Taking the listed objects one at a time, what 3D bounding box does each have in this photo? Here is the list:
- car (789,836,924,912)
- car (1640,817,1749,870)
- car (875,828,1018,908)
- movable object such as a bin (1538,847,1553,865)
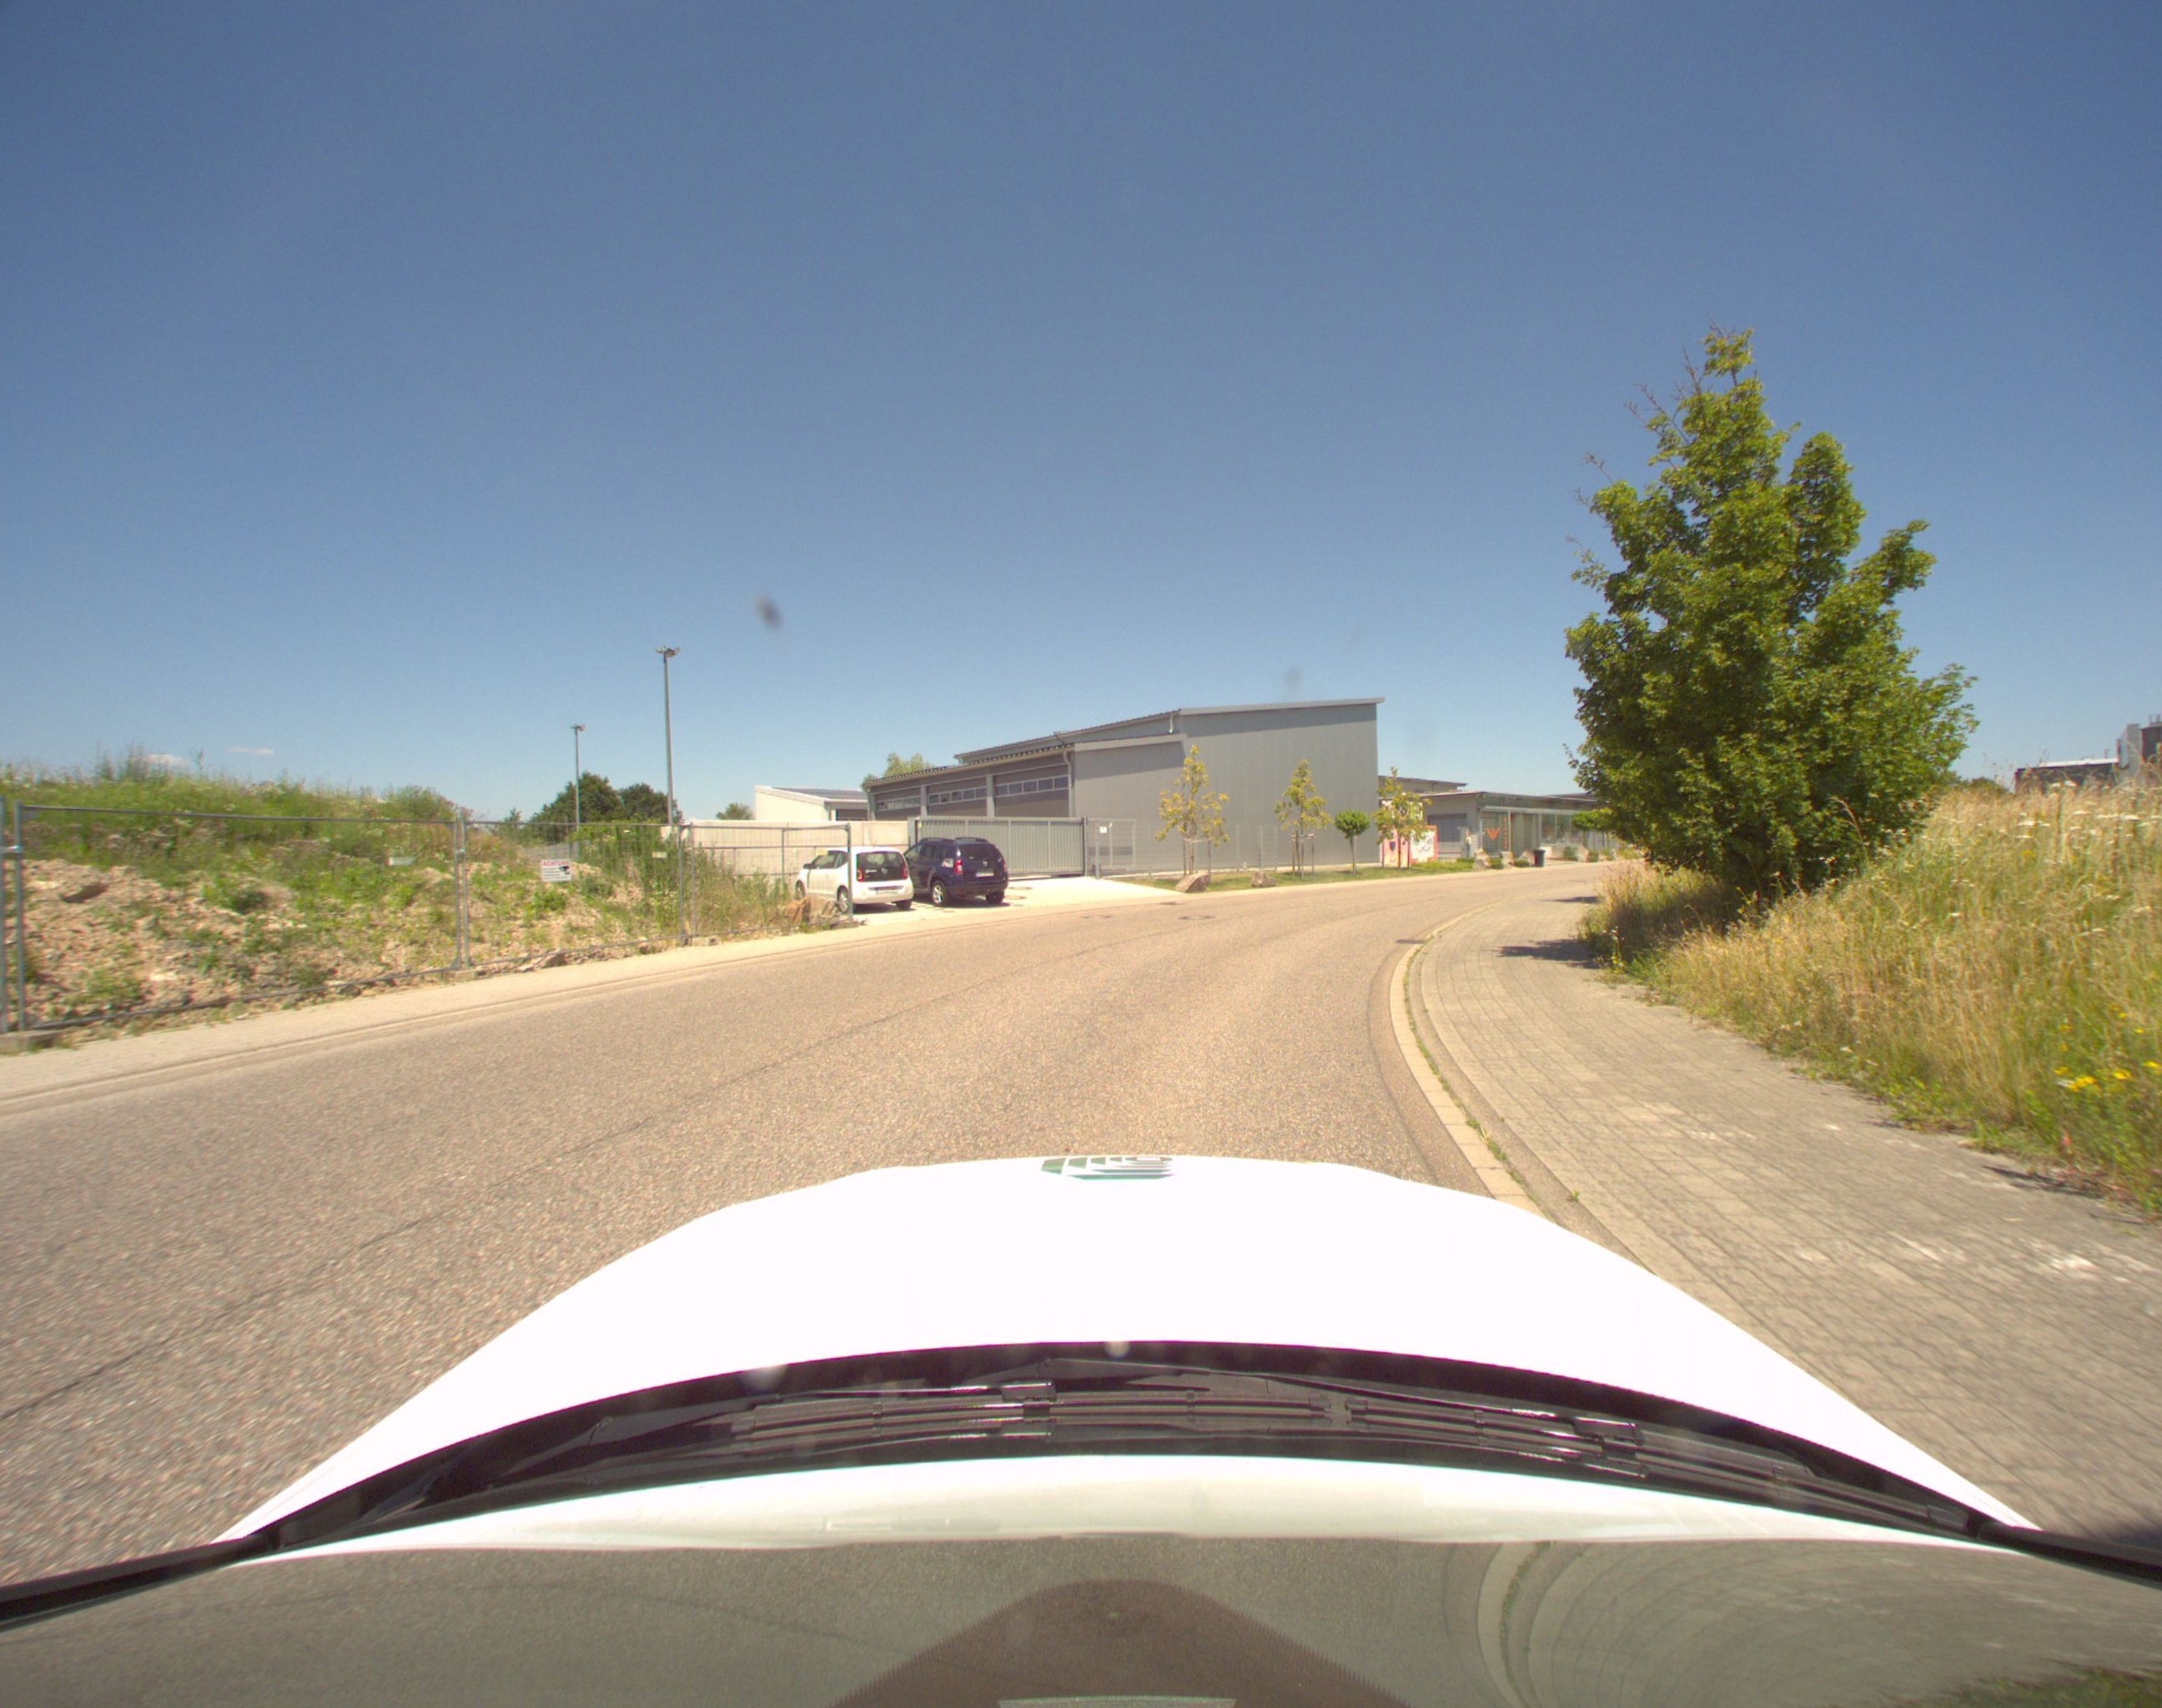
[{"bbox_3d":[-5.414,0.405,19.450,1.791,1.461,3.332,-1,5,-42],"label":"car"},{"bbox_3d":[22.280,-0.370,29.493,4.810,1.699,2.125,-1,-2,-41],"label":"car"},{"bbox_3d":[-3.596,0.283,21.225,1.791,1.658,4.129,0,5,-40],"label":"car"},{"bbox_3d":[24.254,0.104,42.526,0.565,0.949,0.515,0,1,44],"label":"movable object such as a bin"}]
